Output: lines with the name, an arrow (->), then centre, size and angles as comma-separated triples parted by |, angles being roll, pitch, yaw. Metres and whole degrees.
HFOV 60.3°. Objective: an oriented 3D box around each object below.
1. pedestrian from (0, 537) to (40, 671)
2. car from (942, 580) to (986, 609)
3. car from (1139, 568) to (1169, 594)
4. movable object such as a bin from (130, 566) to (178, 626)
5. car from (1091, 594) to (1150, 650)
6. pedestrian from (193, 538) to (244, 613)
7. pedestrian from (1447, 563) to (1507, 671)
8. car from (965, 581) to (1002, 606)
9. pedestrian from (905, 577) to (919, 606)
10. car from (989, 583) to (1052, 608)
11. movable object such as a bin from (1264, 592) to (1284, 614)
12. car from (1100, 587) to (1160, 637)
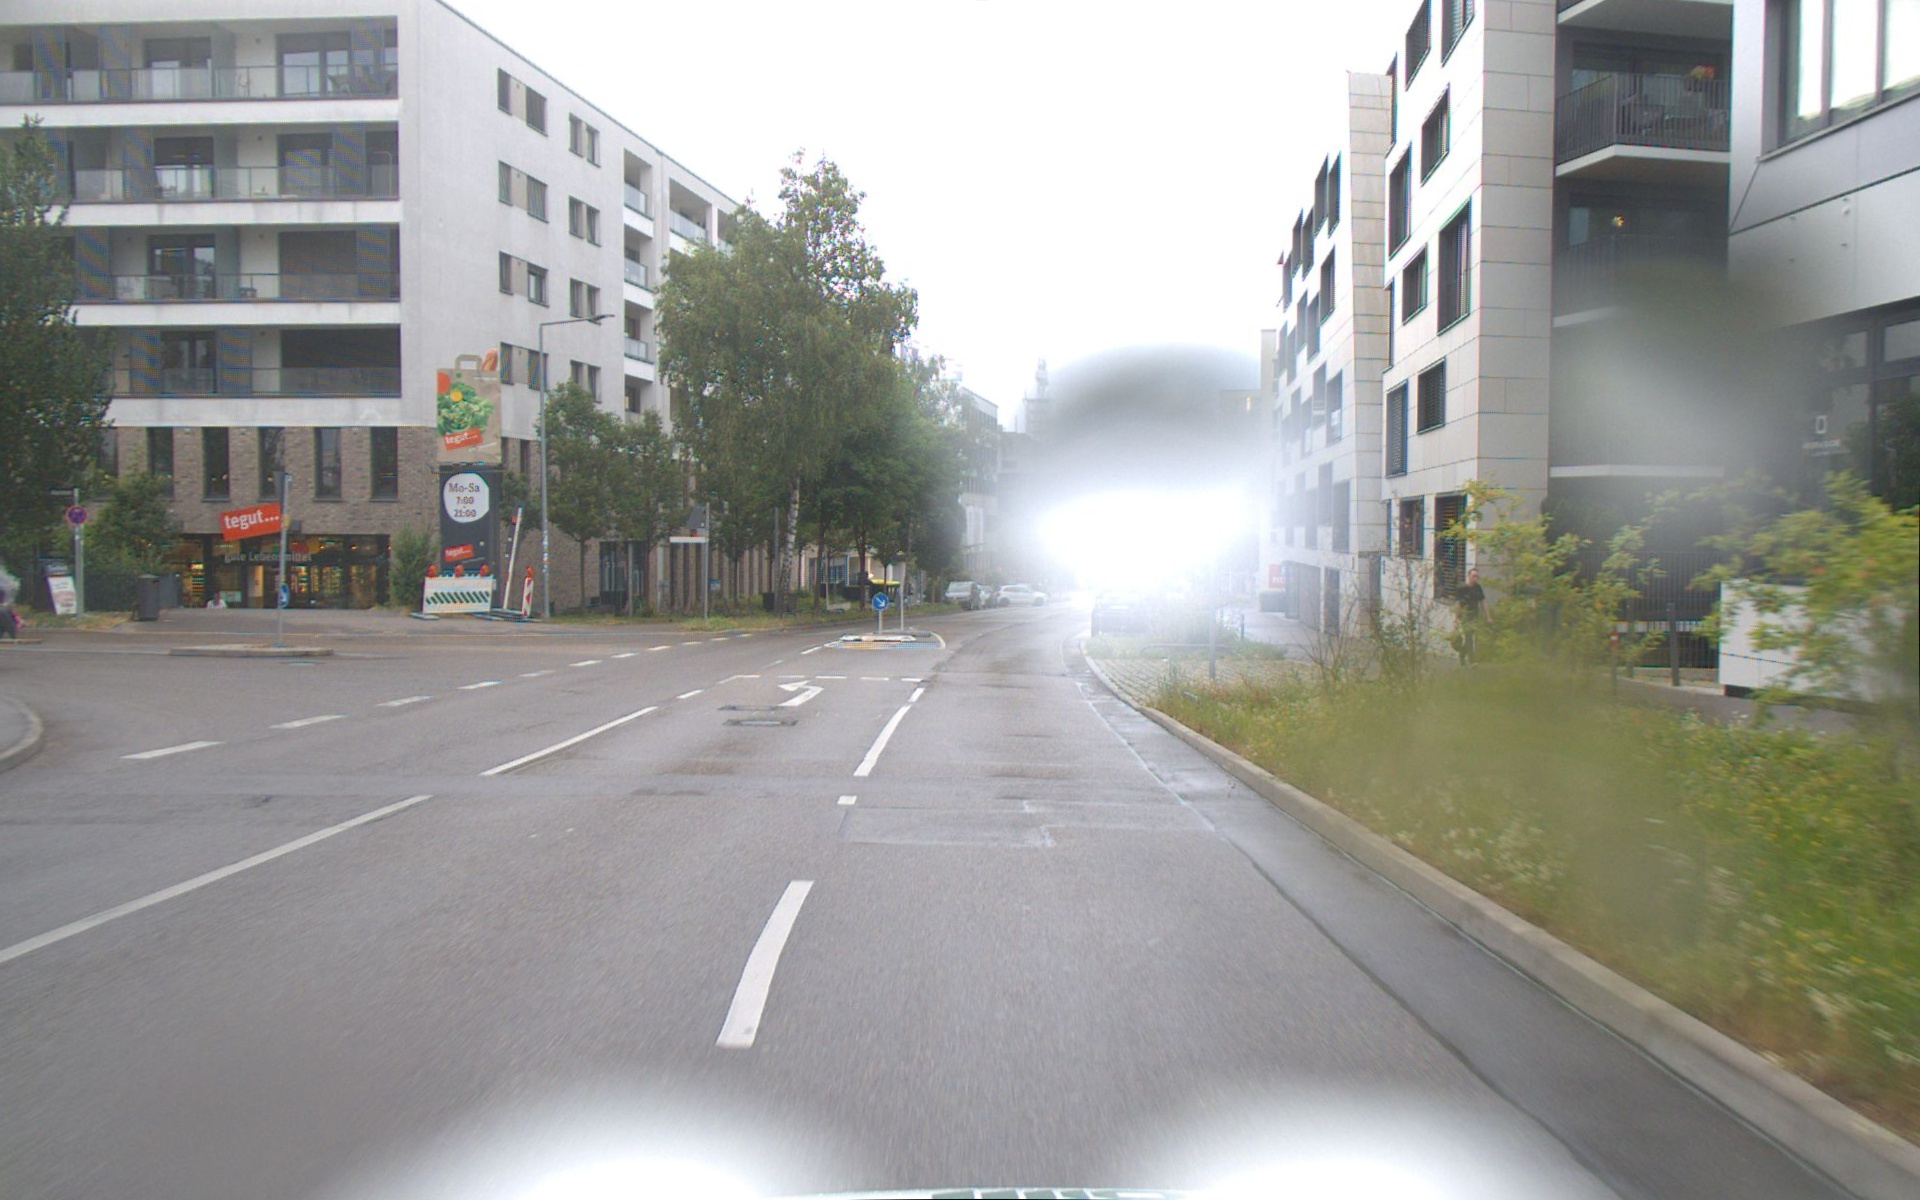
pedestrian -> -15.055, 0.048, 25.670 | 1.037, 2.049, 1.096 | 1, 0, -13
car -> 0.248, -0.358, 96.271 | 2.033, 1.637, 4.689 | 0, 1, 7
car -> 13.953, -1.369, 118.870 | 1.951, 1.780, 3.676 | 1, 1, 8
movable object such as a bin -> -18.988, -0.107, 38.965 | 0.700, 1.386, 0.822 | 1, 1, 2
car -> 4.825, 0.625, 49.475 | 1.513, 1.504, 3.664 | 1, 1, 9
pedestrian -> -20.769, -0.682, 46.354 | 0.865, 2.048, 1.117 | 2, 1, -1
pedestrian -> 8.876, 0.288, 28.430 | 0.805, 1.827, 0.778 | 0, 0, 2
car -> 1.529, -0.403, 106.503 | 1.758, 1.543, 4.249 | 1, 0, 10
pedestrian -> -2.804, -0.494, 96.699 | 0.693, 1.712, 0.957 | 1, 1, 4
car -> 4.168, -0.326, 113.898 | 3.914, 1.604, 1.994 | 1, 1, -13
movable object such as a bin -> 19.945, 0.185, 105.005 | 1.208, 1.343, 1.193 | 0, 0, 10
car -> 5.614, 0.388, 54.247 | 1.769, 1.510, 4.499 | 1, 0, 8
